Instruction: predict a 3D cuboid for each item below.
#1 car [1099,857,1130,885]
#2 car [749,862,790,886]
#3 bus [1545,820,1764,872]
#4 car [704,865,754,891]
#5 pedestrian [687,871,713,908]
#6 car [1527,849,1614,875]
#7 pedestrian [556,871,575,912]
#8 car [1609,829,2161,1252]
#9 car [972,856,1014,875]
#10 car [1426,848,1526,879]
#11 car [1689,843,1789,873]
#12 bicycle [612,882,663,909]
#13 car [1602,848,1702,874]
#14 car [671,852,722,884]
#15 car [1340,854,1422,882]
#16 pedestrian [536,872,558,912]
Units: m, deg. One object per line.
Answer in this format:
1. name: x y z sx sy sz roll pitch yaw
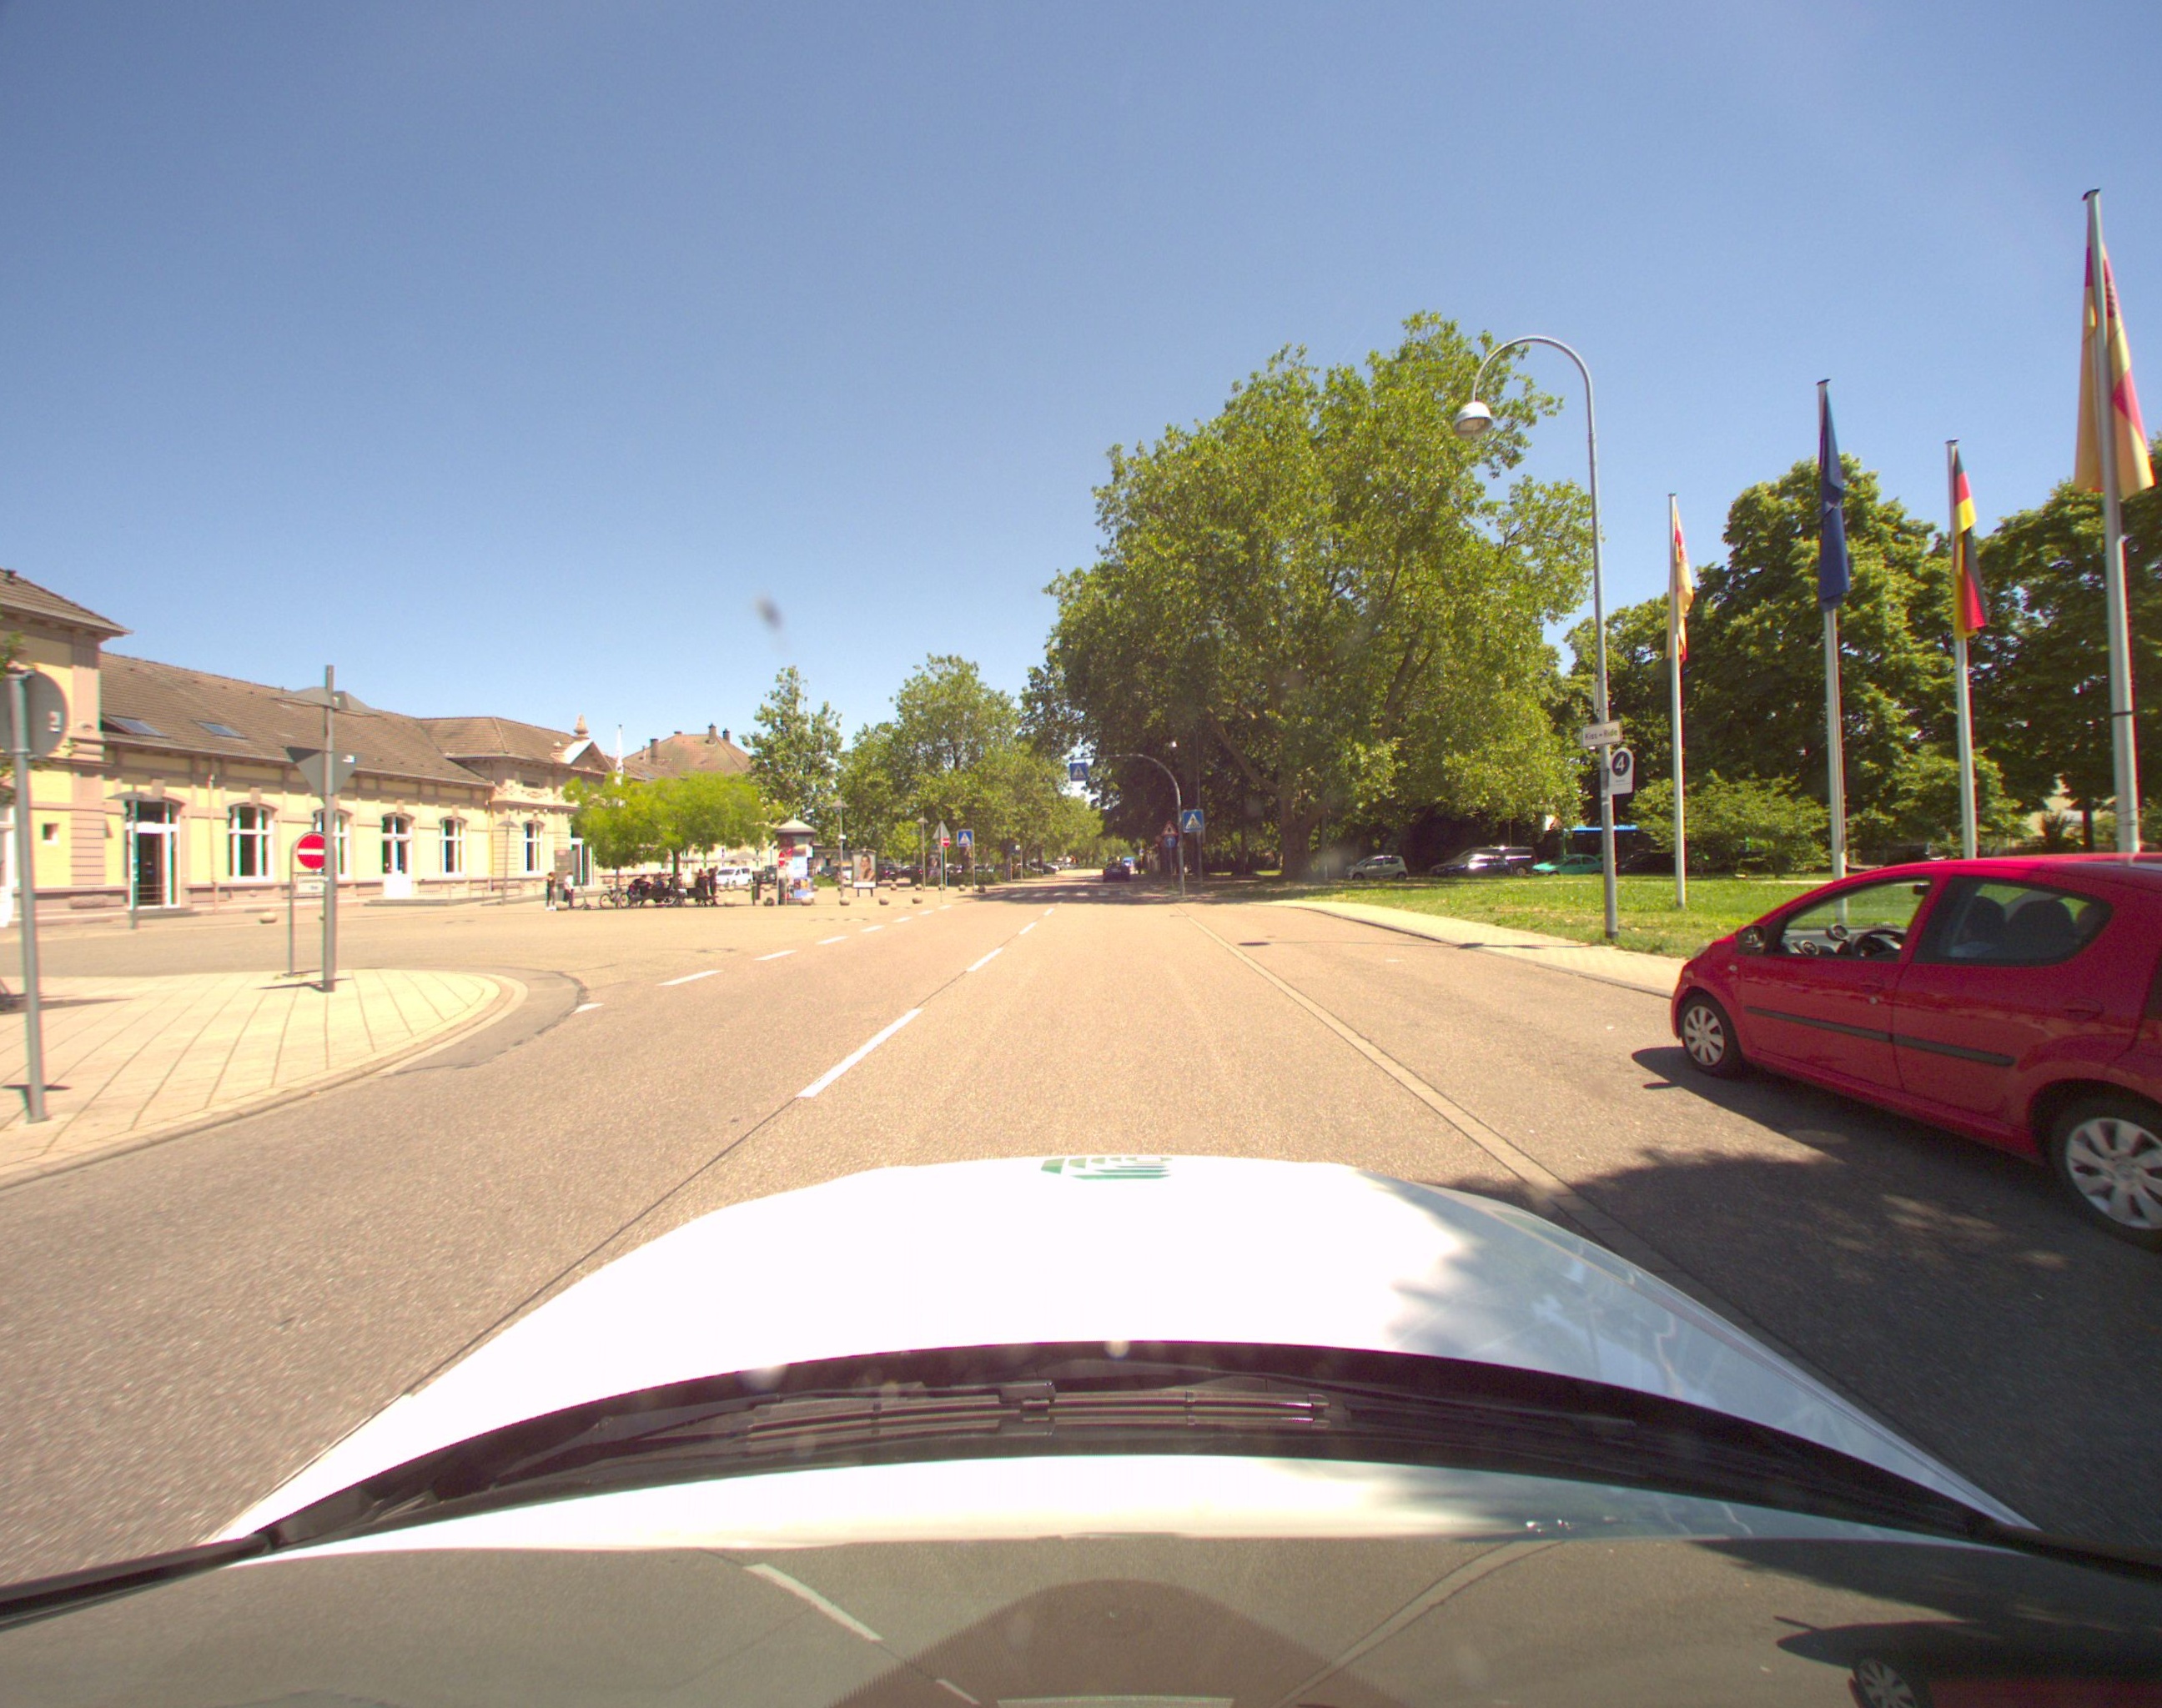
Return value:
1. car: 2.330 1.164 56.929 2.117 1.848 4.050 -1 -1 2
2. car: -27.593 1.762 72.261 1.986 2.013 4.001 -2 0 2
3. bus: 36.879 -0.482 52.654 12.331 2.978 2.269 -1 -2 2
4. car: -28.120 1.918 65.170 1.744 1.917 4.777 -2 0 2
5. pedestrian: -17.175 1.605 36.749 0.754 1.659 0.724 -2 -3 19
6. car: 28.294 0.493 47.169 3.864 1.454 2.001 -1 -2 3
7. pedestrian: -22.017 1.595 34.792 0.589 1.710 0.580 1 -3 -44
8. car: 4.804 0.640 4.450 1.710 1.478 3.712 -2 -1 6
9. car: -8.996 1.181 83.090 3.995 1.782 1.989 -1 -3 -16
10. car: 22.844 0.562 47.271 4.800 1.607 2.003 -2 -1 5
11. car: 38.028 0.256 47.131 4.079 1.609 2.002 -1 -2 3
12. bicycle: -18.455 1.716 33.911 1.800 1.031 0.485 -1 -1 -22
13. car: 32.886 0.426 47.027 4.319 1.416 2.001 -1 -2 2
14. car: -31.035 1.130 65.888 1.712 2.468 5.005 0 -1 1
15. car: 17.557 0.809 47.860 4.087 1.466 2.002 -2 -1 4
16. pedestrian: -22.525 1.610 34.366 0.661 1.673 0.623 1 -3 -44
